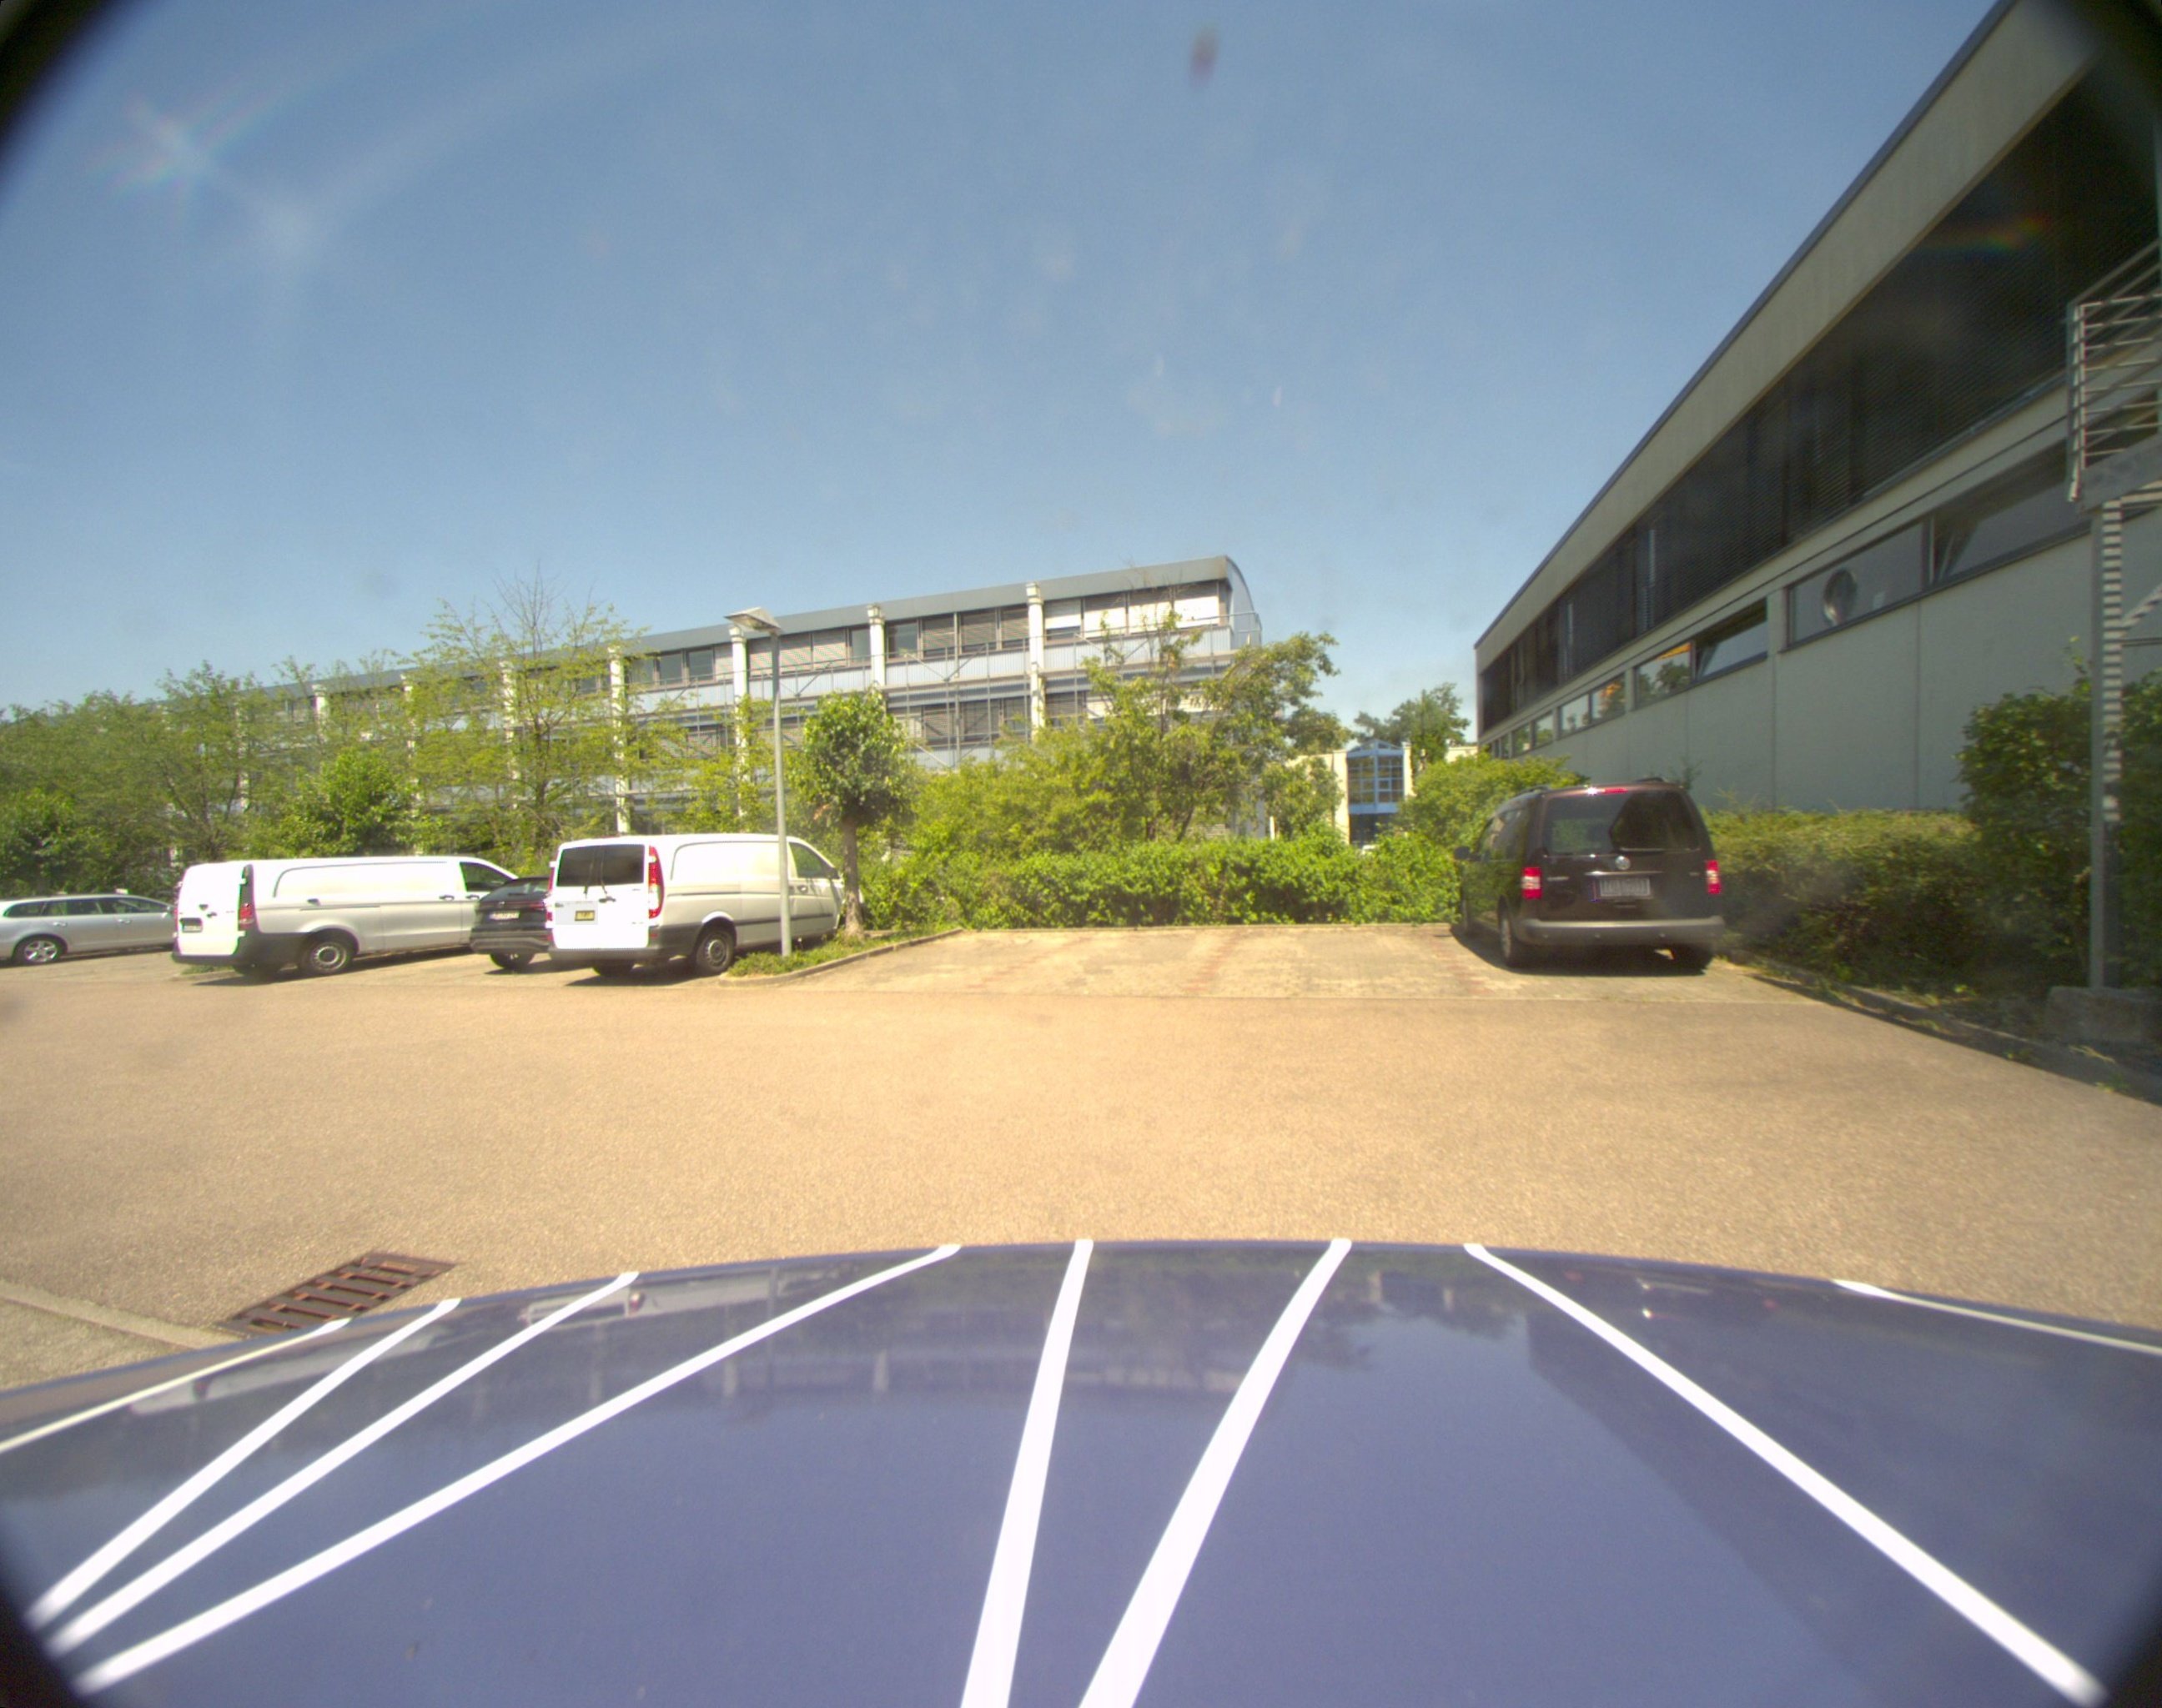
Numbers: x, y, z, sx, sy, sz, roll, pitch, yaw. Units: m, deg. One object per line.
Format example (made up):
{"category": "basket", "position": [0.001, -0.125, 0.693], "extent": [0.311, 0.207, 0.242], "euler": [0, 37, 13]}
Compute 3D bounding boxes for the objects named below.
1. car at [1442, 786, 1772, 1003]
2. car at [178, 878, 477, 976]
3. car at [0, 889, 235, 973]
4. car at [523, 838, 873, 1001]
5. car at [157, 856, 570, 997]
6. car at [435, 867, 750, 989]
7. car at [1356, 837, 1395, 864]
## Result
{"category": "car", "position": [5.565, 0.321, 8.750], "extent": [1.865, 1.849, 4.233], "euler": [-3, 1, 17]}
{"category": "car", "position": [-15.045, 1.374, 15.486], "extent": [1.621, 1.479, 3.925], "euler": [-3, 1, 19]}
{"category": "car", "position": [-22.574, 1.708, 17.232], "extent": [1.736, 1.475, 4.090], "euler": [-3, 1, 20]}
{"category": "car", "position": [-5.284, 0.763, 11.386], "extent": [1.865, 1.849, 4.681], "euler": [-3, 1, 17]}
{"category": "car", "position": [-12.220, 1.086, 13.529], "extent": [1.853, 1.845, 4.940], "euler": [-3, 1, 19]}
{"category": "car", "position": [-7.757, 1.081, 12.641], "extent": [1.736, 1.475, 4.202], "euler": [-3, 1, 17]}
{"category": "car", "position": [19.091, -0.257, 49.380], "extent": [1.834, 1.558, 4.002], "euler": [-2, 2, 14]}
